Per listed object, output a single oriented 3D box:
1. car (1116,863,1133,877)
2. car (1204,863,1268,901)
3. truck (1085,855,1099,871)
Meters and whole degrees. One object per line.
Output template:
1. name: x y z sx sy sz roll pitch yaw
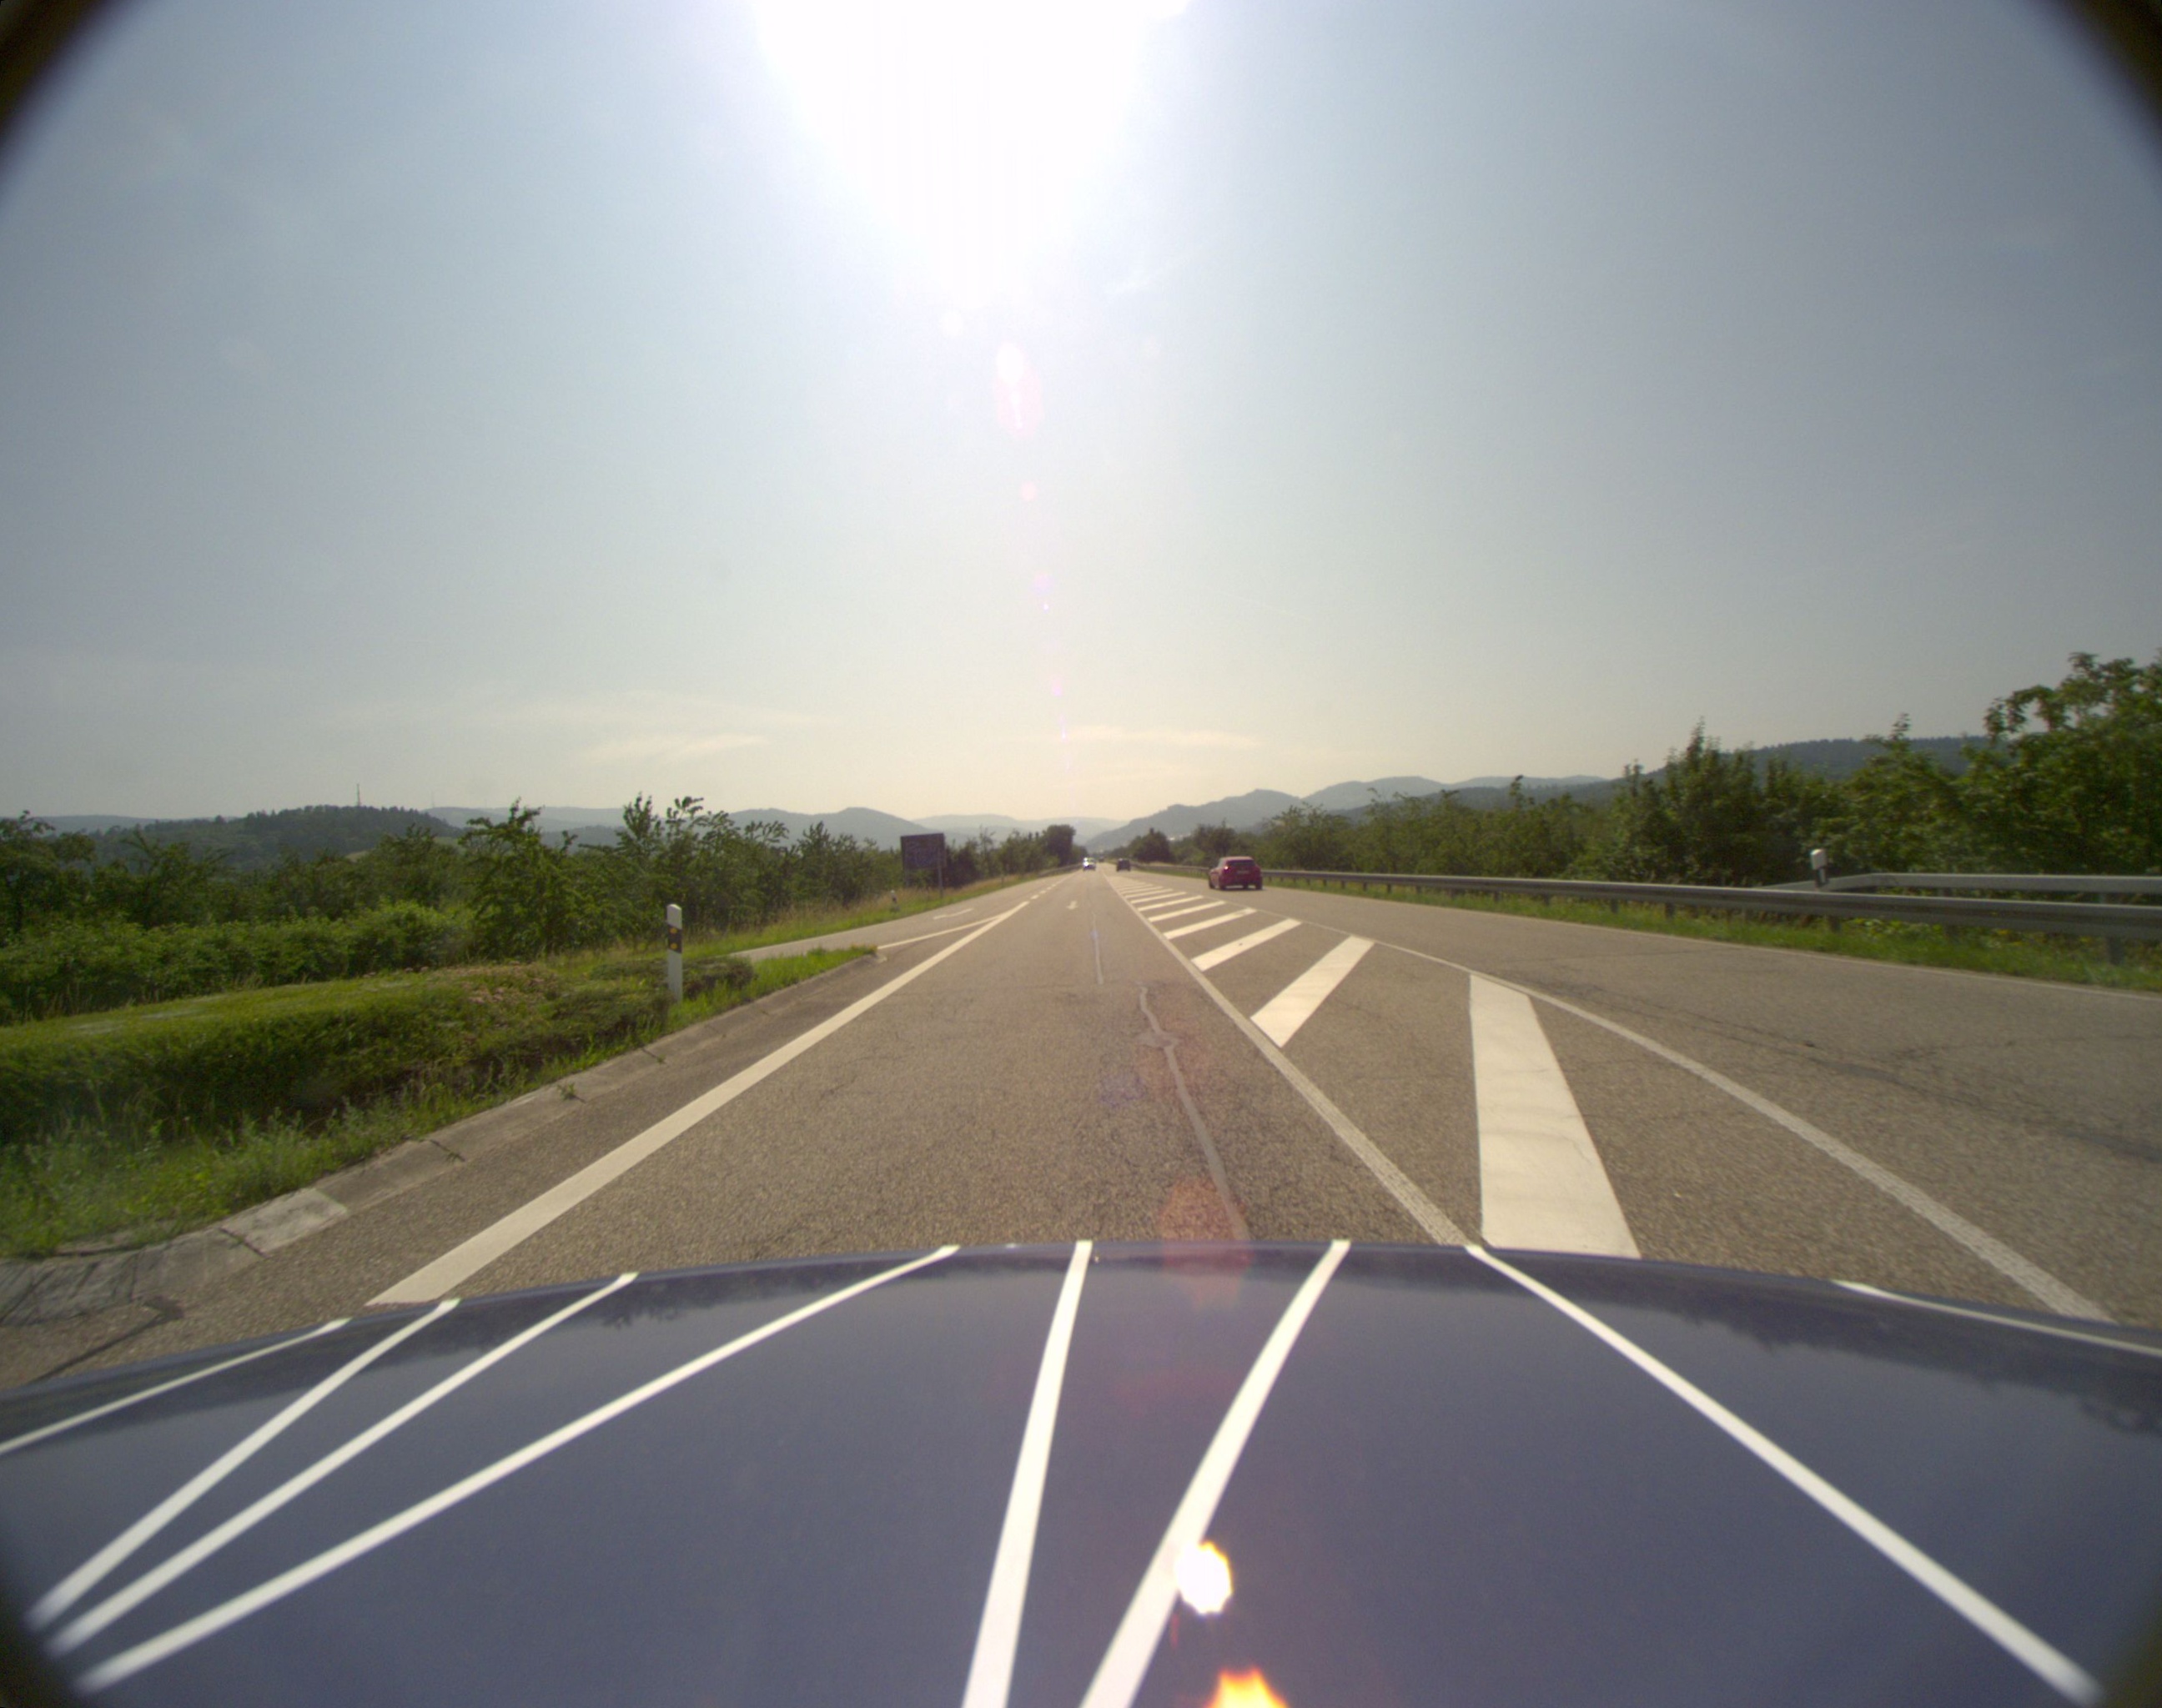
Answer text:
1. car: 5.668 2.061 99.779 1.808 1.628 4.809 -3 0 -1
2. car: 6.830 1.176 33.912 1.820 1.440 4.495 -3 0 0
3. truck: 1.663 1.375 116.224 2.031 2.232 4.765 -3 0 1
